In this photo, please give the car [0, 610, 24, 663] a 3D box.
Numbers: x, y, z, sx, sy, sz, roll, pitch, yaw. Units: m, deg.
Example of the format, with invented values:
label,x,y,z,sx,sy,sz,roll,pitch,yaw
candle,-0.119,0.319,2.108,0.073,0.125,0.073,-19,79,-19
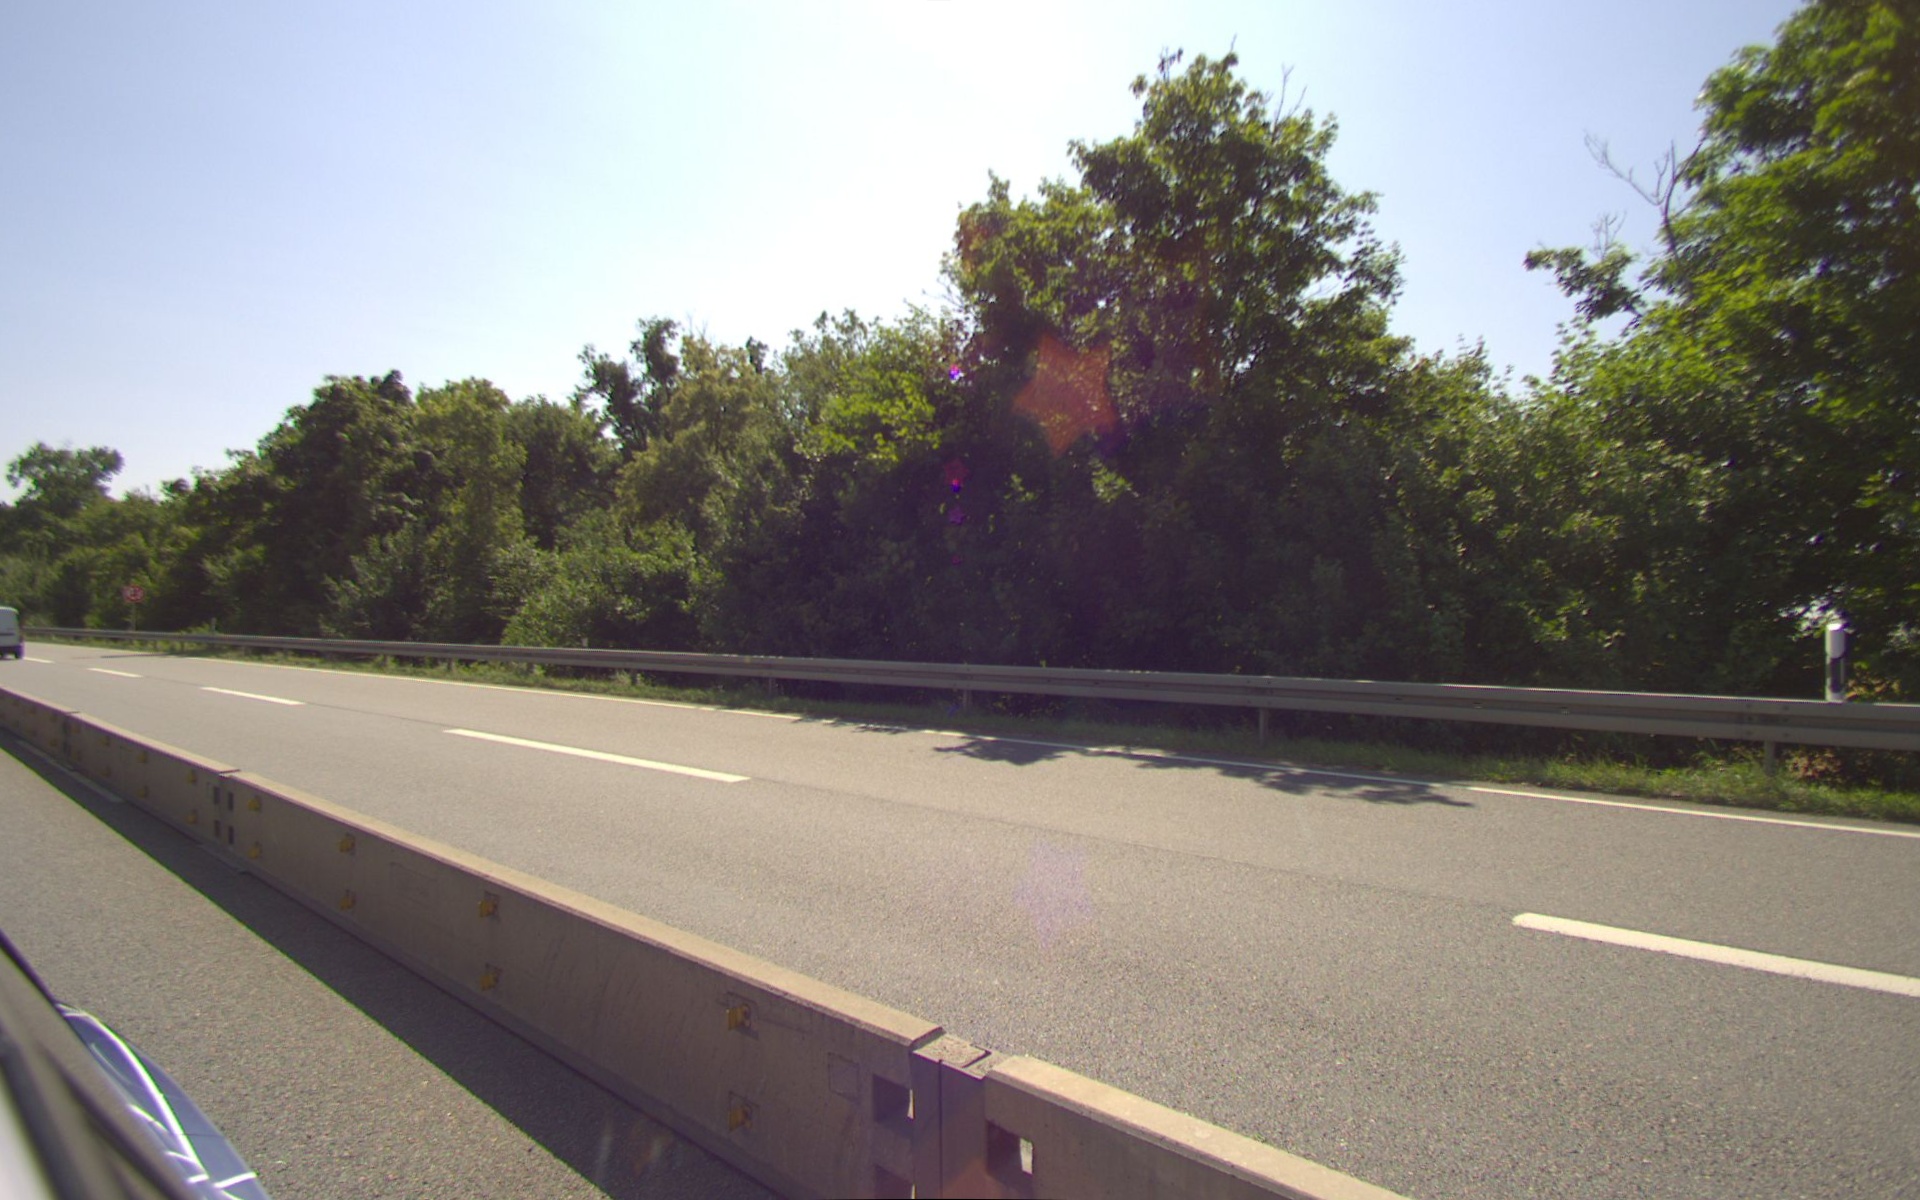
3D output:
label,x,y,z,sx,sy,sz,roll,pitch,yaw
car,-34.034,1.245,34.972,4.277,1.778,1.739,-1,-1,37
